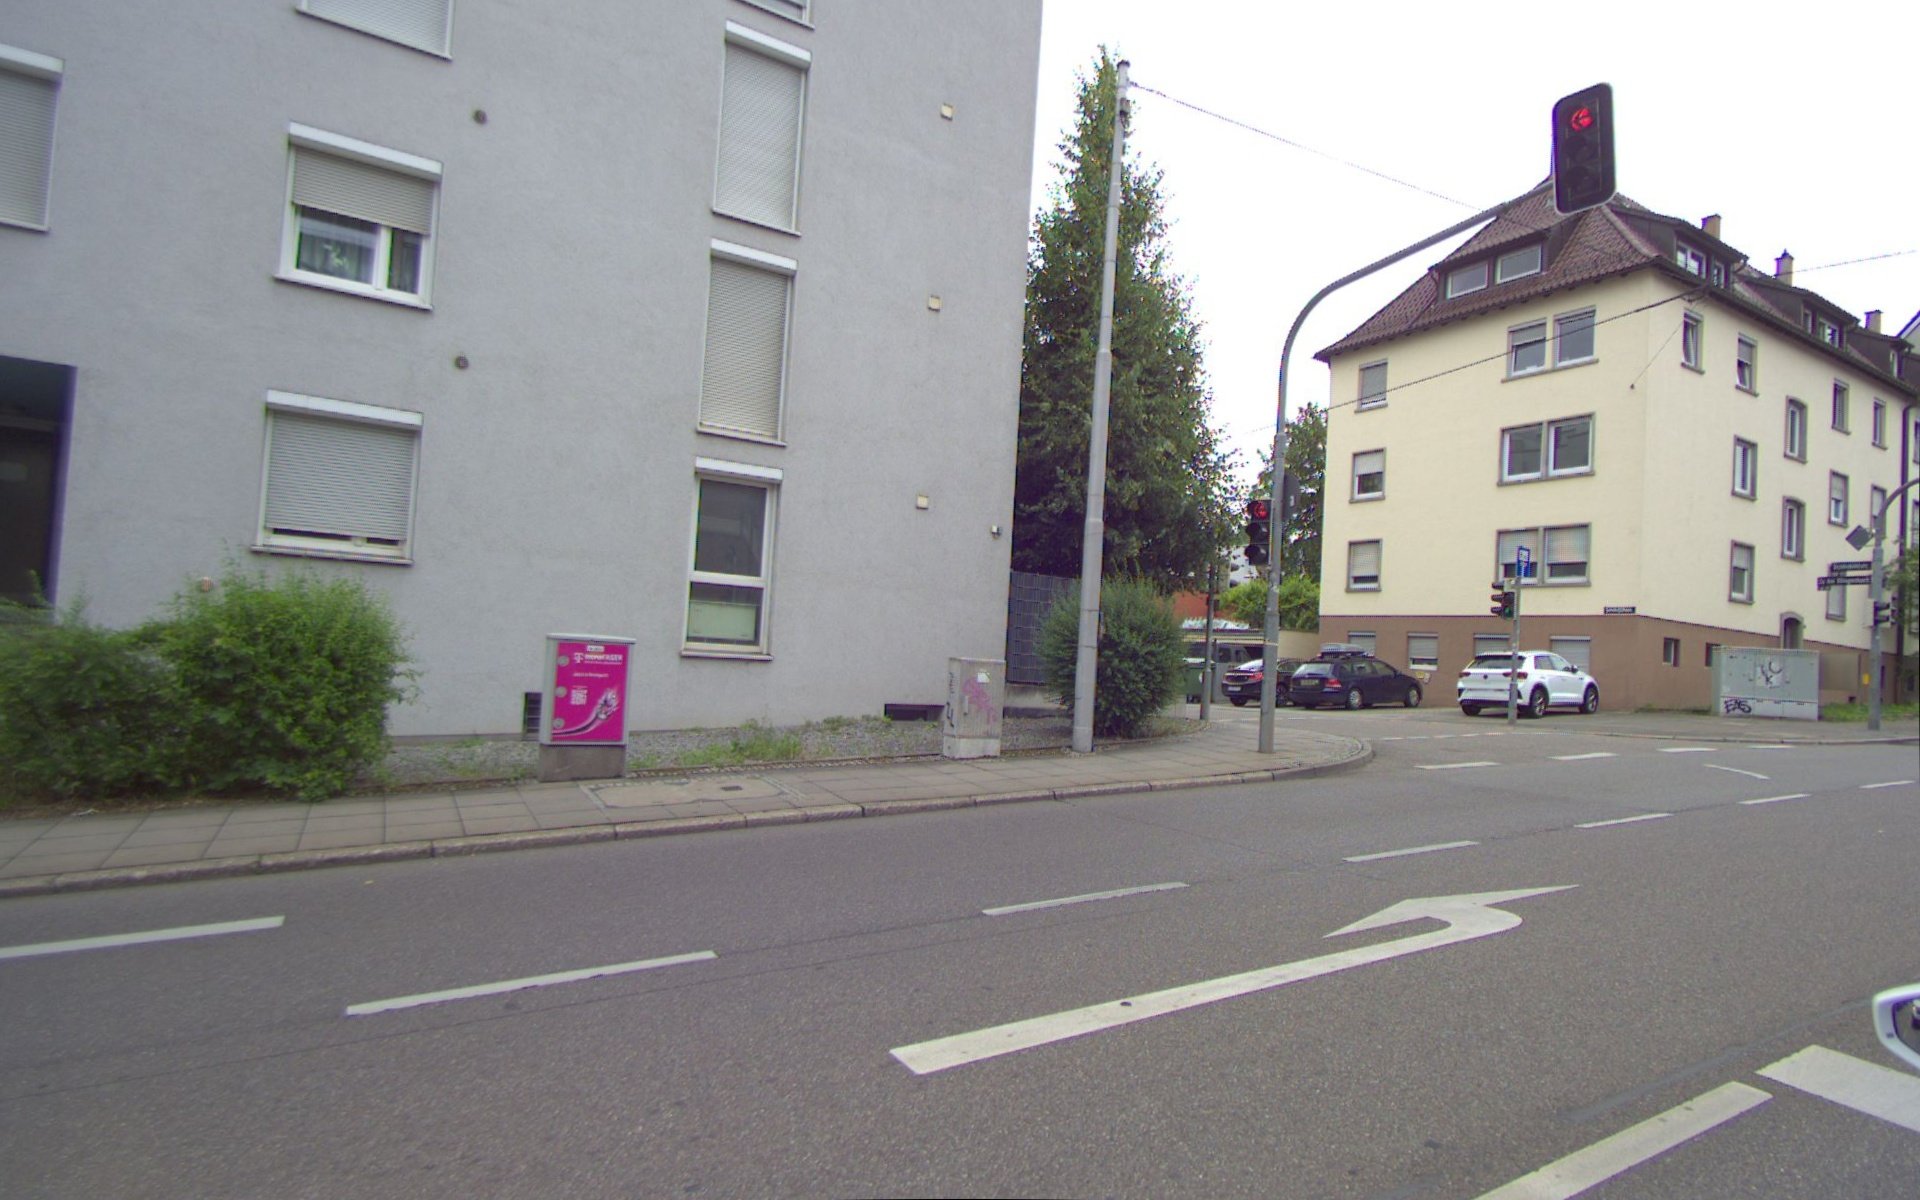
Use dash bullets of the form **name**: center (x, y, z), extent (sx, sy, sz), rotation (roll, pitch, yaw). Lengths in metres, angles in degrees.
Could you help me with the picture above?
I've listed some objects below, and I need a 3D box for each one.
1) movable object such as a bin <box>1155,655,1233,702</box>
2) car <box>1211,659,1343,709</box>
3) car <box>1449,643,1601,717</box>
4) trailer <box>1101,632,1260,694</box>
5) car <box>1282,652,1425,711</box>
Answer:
- **movable object such as a bin**: center (7.811, 2.606, 33.534), extent (2.128, 1.448, 1.413), rotation (2, 0, -30)
- **car**: center (9.761, 2.549, 30.880), extent (3.953, 1.380, 1.662), rotation (2, -1, -30)
- **car**: center (13.878, 1.925, 24.624), extent (3.960, 1.683, 1.660), rotation (2, -4, -35)
- **trailer**: center (7.728, 2.173, 35.093), extent (5.225, 1.954, 2.220), rotation (2, 0, -29)
- **car**: center (11.340, 2.315, 28.896), extent (4.053, 1.566, 1.662), rotation (2, -4, -30)
